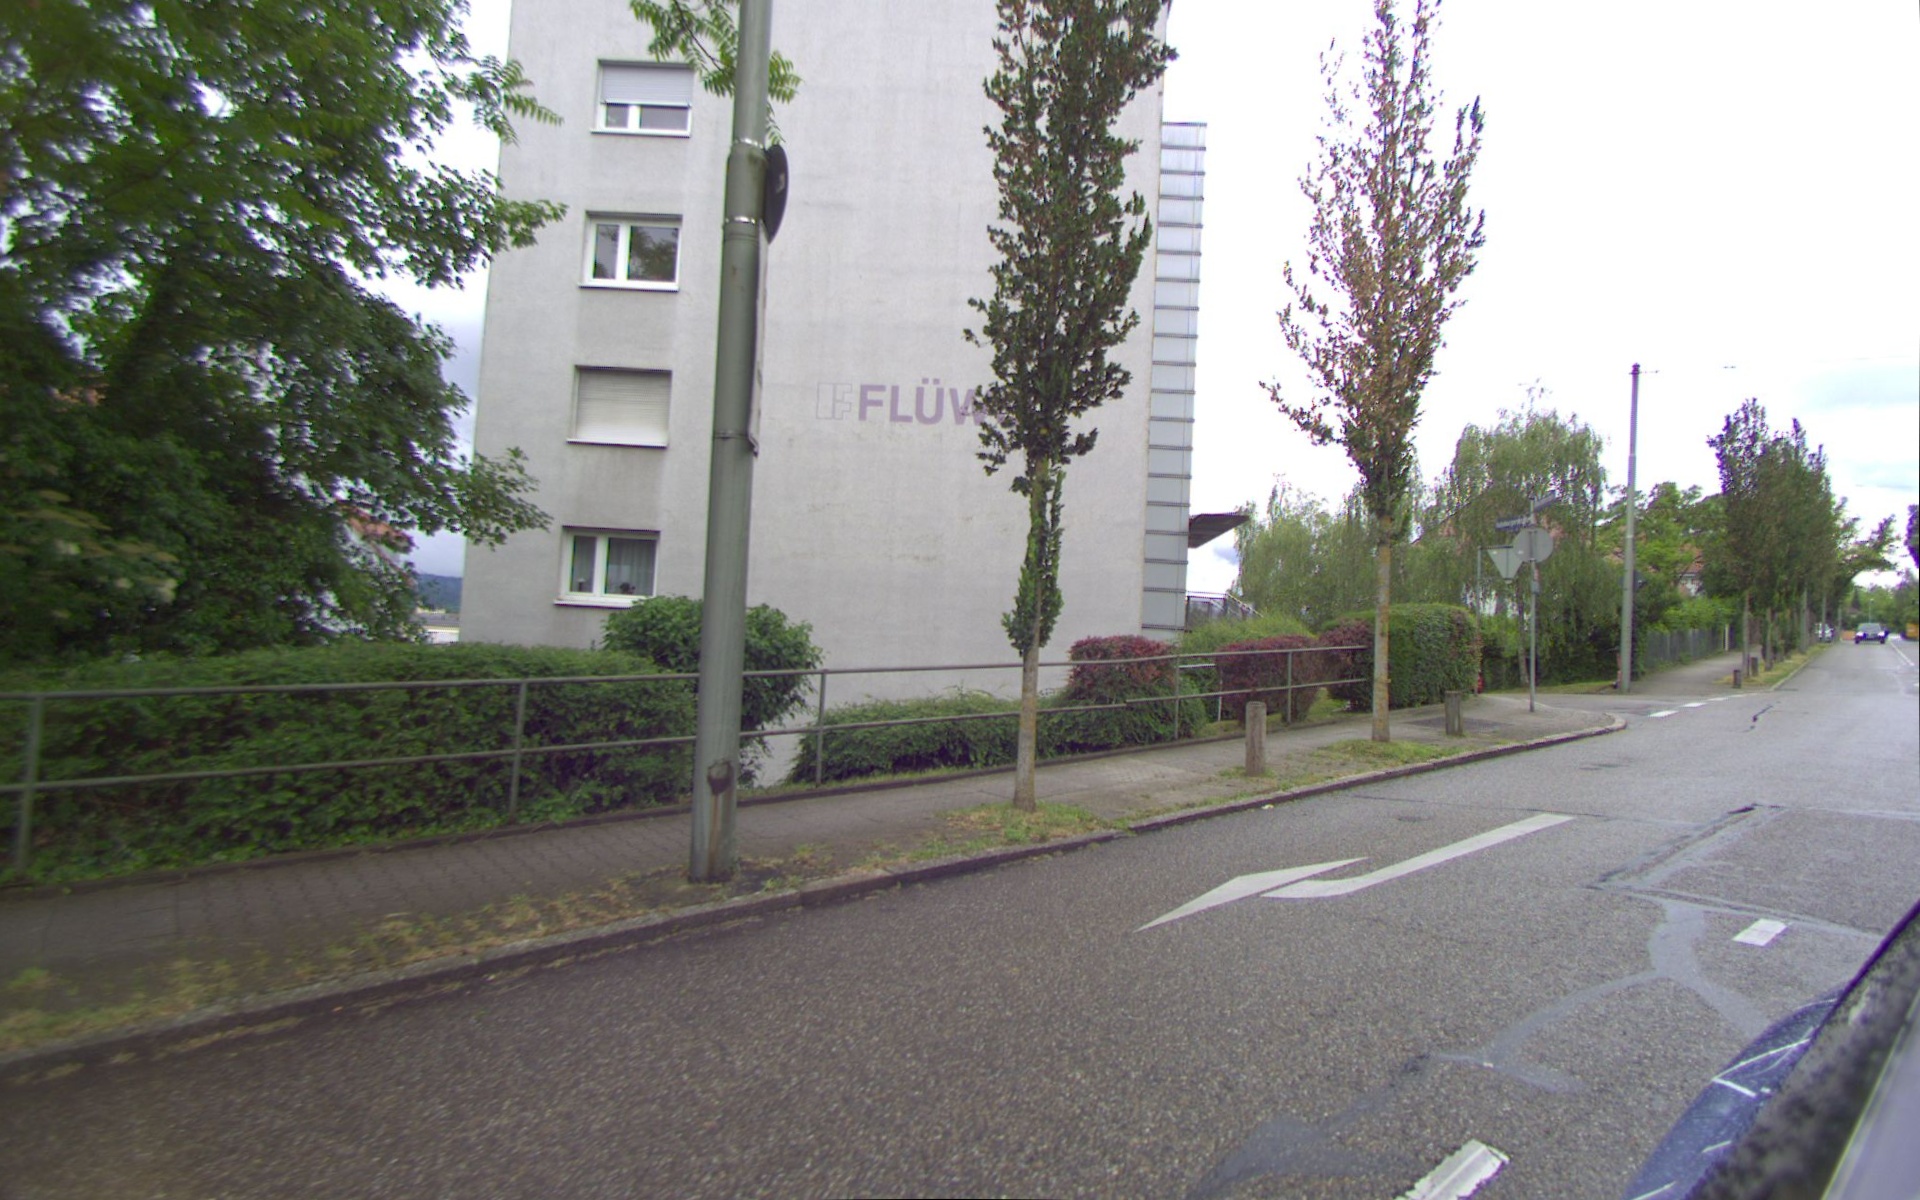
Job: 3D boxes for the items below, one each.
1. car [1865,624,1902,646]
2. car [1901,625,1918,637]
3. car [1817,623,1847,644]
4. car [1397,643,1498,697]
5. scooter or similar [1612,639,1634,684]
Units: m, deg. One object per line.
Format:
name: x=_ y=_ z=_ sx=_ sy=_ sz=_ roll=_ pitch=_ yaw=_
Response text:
car: x=74.842 y=2.888 z=81.994 sx=3.934 sy=1.706 sz=1.994 roll=3 pitch=-5 yaw=-45
car: x=136.205 y=4.466 z=145.153 sx=1.761 sy=1.505 sz=3.938 roll=2 pitch=1 yaw=43
car: x=72.591 y=2.785 z=84.266 sx=1.823 sy=1.650 sz=3.940 roll=1 pitch=-1 yaw=41
car: x=16.203 y=2.393 z=33.842 sx=1.614 sy=1.543 sz=3.565 roll=1 pitch=-8 yaw=1
scooter or similar: x=19.861 y=1.828 z=30.305 sx=0.342 sy=1.271 sz=1.248 roll=-4 pitch=-3 yaw=41
